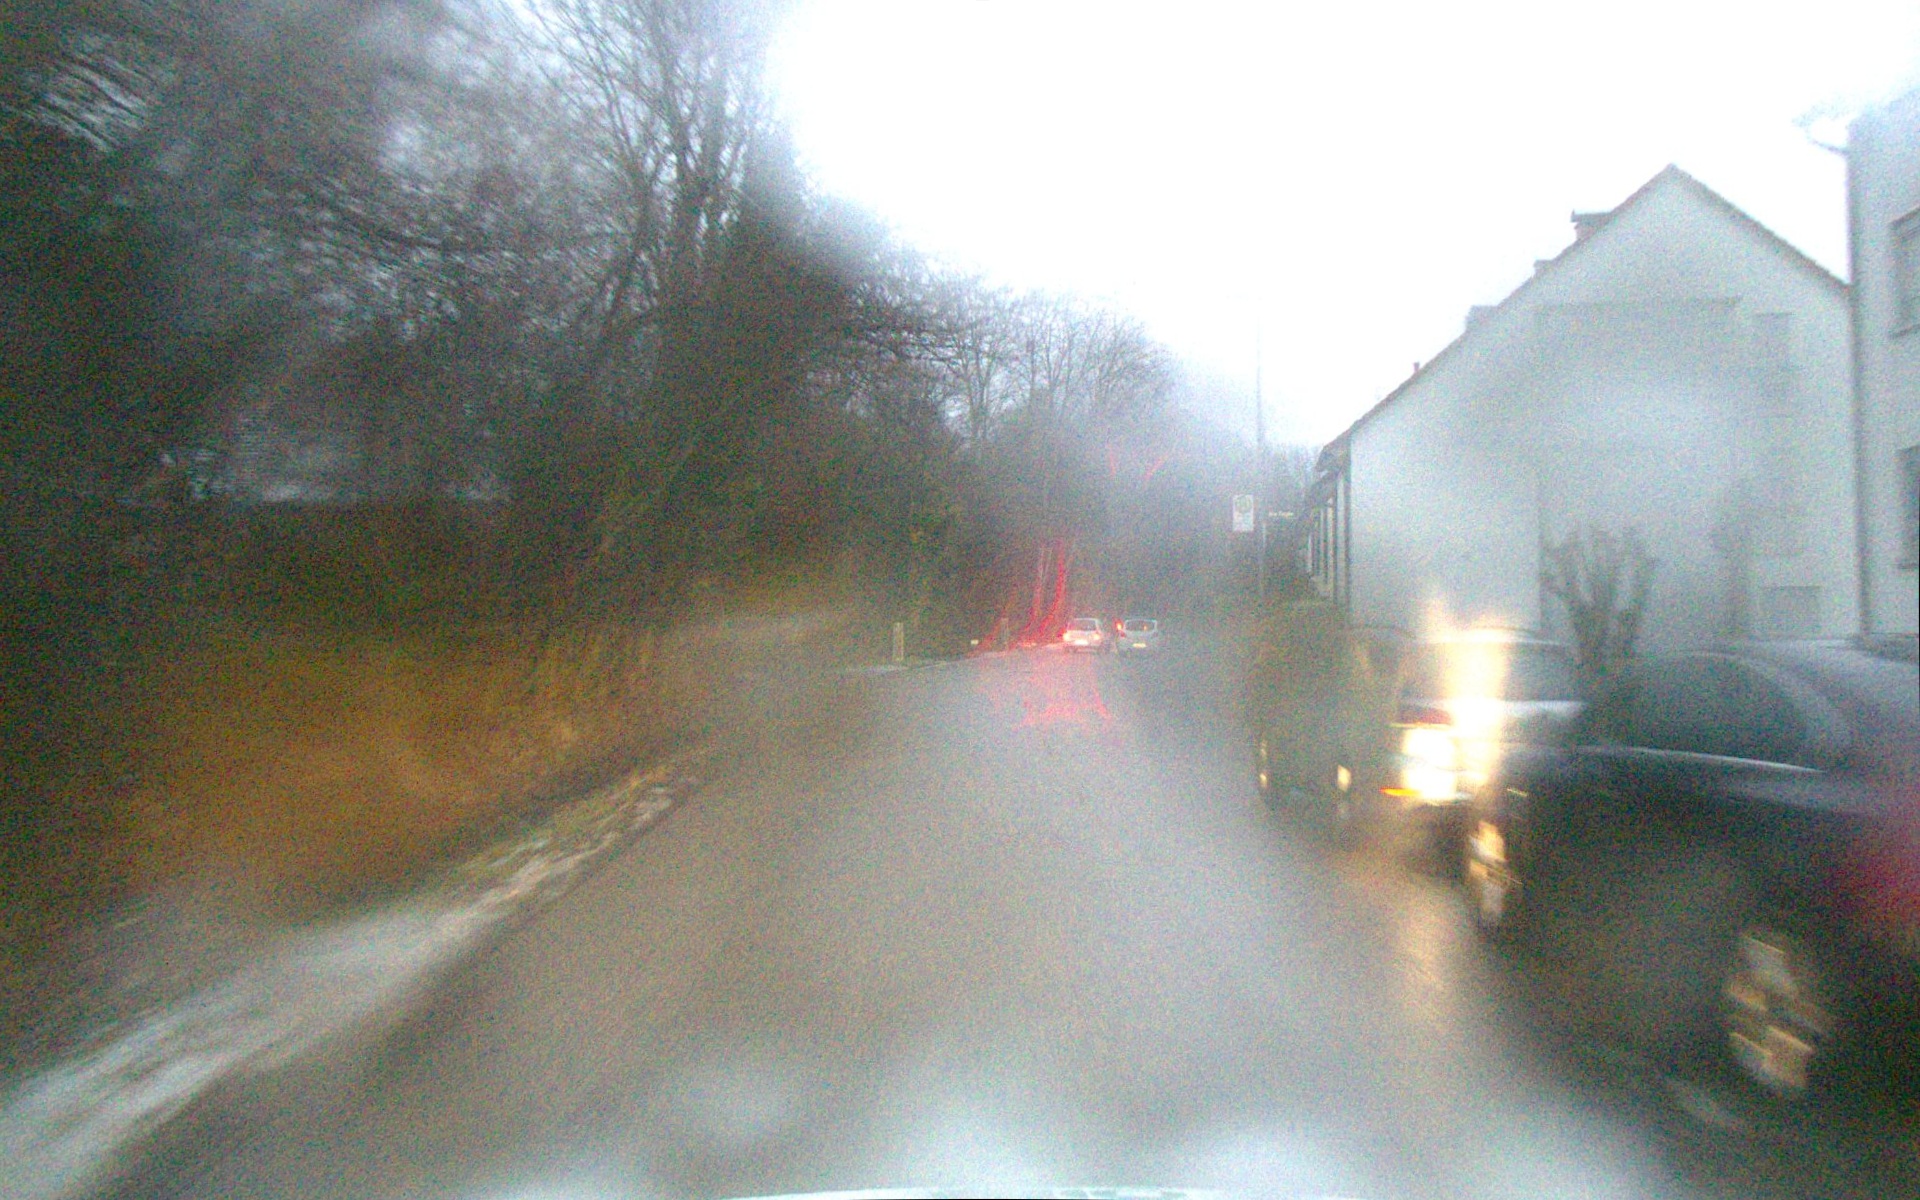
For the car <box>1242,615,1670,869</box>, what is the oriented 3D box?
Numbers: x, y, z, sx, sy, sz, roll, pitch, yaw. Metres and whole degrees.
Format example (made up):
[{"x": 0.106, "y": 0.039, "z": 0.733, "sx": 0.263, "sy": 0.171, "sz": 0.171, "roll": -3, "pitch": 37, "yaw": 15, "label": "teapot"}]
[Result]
[{"x": 3.347, "y": 0.881, "z": 12.103, "sx": 1.703, "sy": 1.454, "sz": 4.455, "roll": 2, "pitch": -1, "yaw": -1, "label": "car"}]

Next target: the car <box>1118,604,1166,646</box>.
[{"x": 7.158, "y": 0.986, "z": 64.794, "sx": 1.667, "sy": 1.532, "sz": 4.027, "roll": 1, "pitch": -1, "yaw": 8, "label": "car"}]

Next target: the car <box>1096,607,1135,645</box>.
[{"x": 7.721, "y": 1.274, "z": 81.883, "sx": 1.653, "sy": 1.806, "sz": 3.864, "roll": 0, "pitch": 0, "yaw": 9, "label": "car"}]

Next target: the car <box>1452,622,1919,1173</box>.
[{"x": 3.341, "y": 0.839, "z": 6.070, "sx": 1.622, "sy": 1.454, "sz": 4.563, "roll": 2, "pitch": -1, "yaw": -1, "label": "car"}]

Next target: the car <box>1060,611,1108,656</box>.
[{"x": 5.156, "y": 1.363, "z": 68.588, "sx": 1.892, "sy": 1.812, "sz": 4.002, "roll": 0, "pitch": 0, "yaw": 5, "label": "car"}]
